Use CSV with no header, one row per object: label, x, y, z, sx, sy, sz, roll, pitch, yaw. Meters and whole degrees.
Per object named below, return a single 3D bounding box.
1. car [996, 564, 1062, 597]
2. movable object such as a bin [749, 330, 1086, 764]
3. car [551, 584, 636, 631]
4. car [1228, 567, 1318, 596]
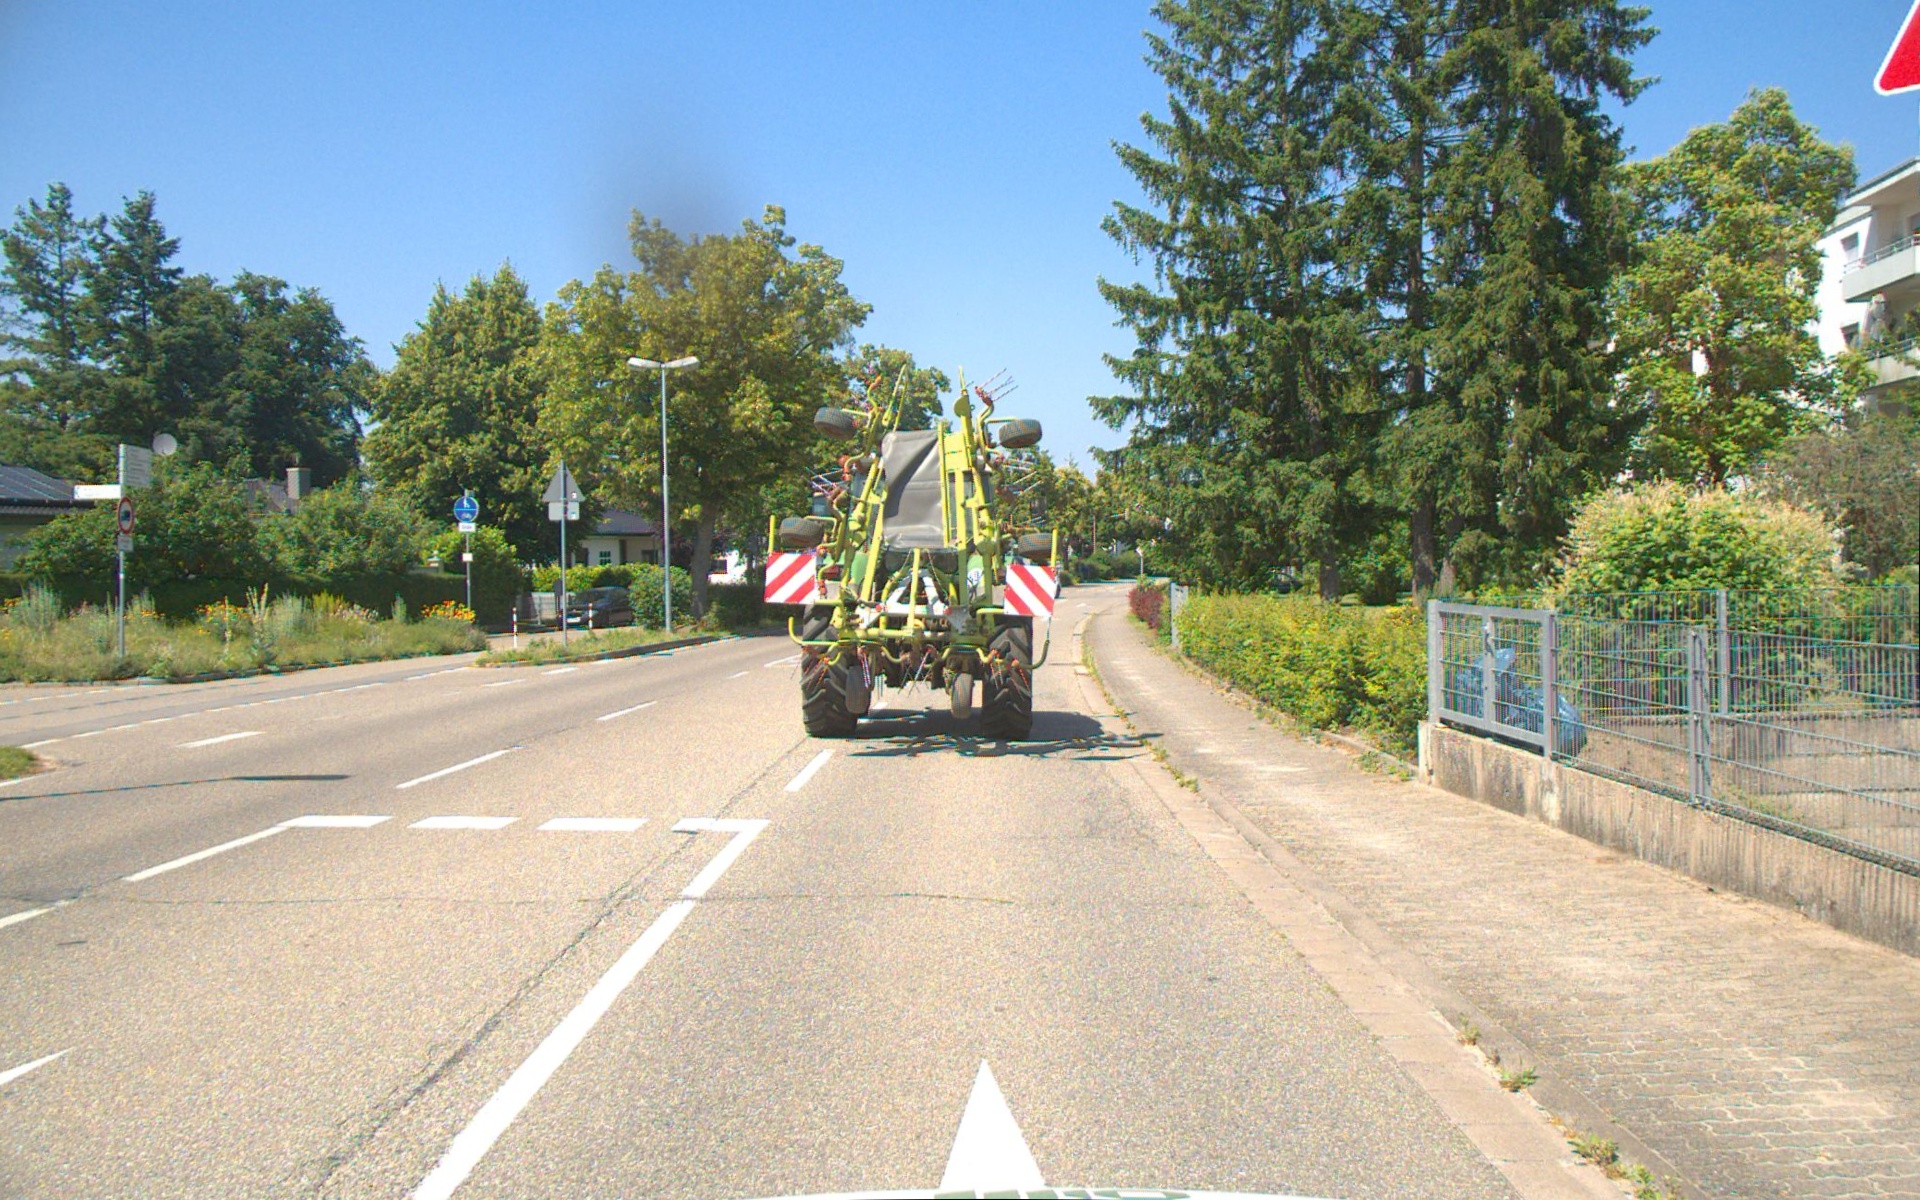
car,3.800,-1.060,90.300,1.825,1.745,3.988,0,1,34
movable object such as a bin,-0.289,-0.497,18.693,2.794,3.603,9.702,-1,1,1
car,-12.763,0.223,57.762,1.652,1.556,4.003,0,1,7
car,14.506,-0.875,76.723,3.742,1.317,1.680,0,1,-11
